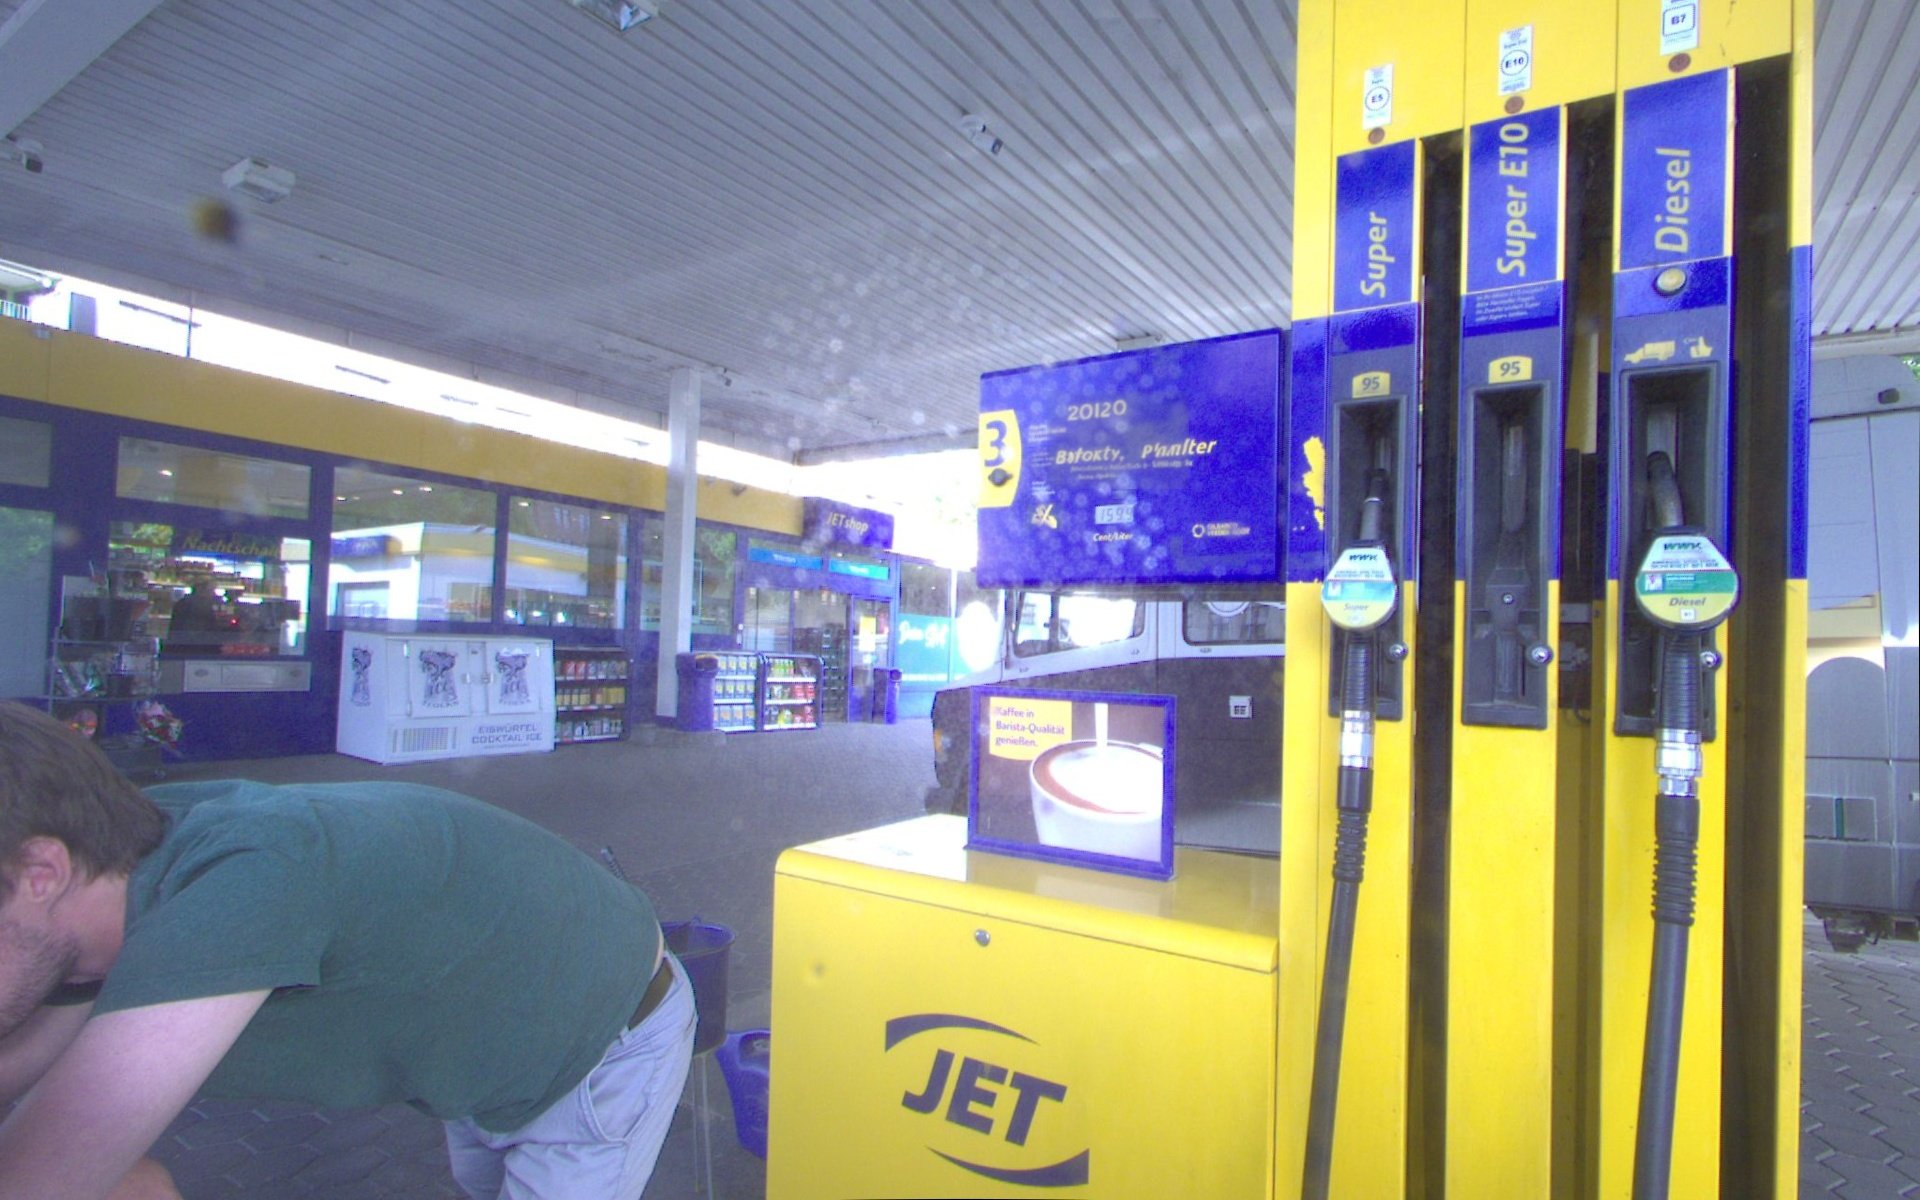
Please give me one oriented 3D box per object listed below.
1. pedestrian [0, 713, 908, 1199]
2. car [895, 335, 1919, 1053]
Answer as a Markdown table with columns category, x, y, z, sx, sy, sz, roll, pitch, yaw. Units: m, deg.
| category | x | y | z | sx | sy | sz | roll | pitch | yaw |
| --- | --- | --- | --- | --- | --- | --- | --- | --- | --- |
| pedestrian | -0.537 | 0.809 | 1.074 | 0.664 | 1.298 | 0.749 | -1 | -1 | 31 |
| car | 2.386 | 0.413 | 6.019 | 5.219 | 2.724 | 2.250 | 0 | -3 | 34 |
